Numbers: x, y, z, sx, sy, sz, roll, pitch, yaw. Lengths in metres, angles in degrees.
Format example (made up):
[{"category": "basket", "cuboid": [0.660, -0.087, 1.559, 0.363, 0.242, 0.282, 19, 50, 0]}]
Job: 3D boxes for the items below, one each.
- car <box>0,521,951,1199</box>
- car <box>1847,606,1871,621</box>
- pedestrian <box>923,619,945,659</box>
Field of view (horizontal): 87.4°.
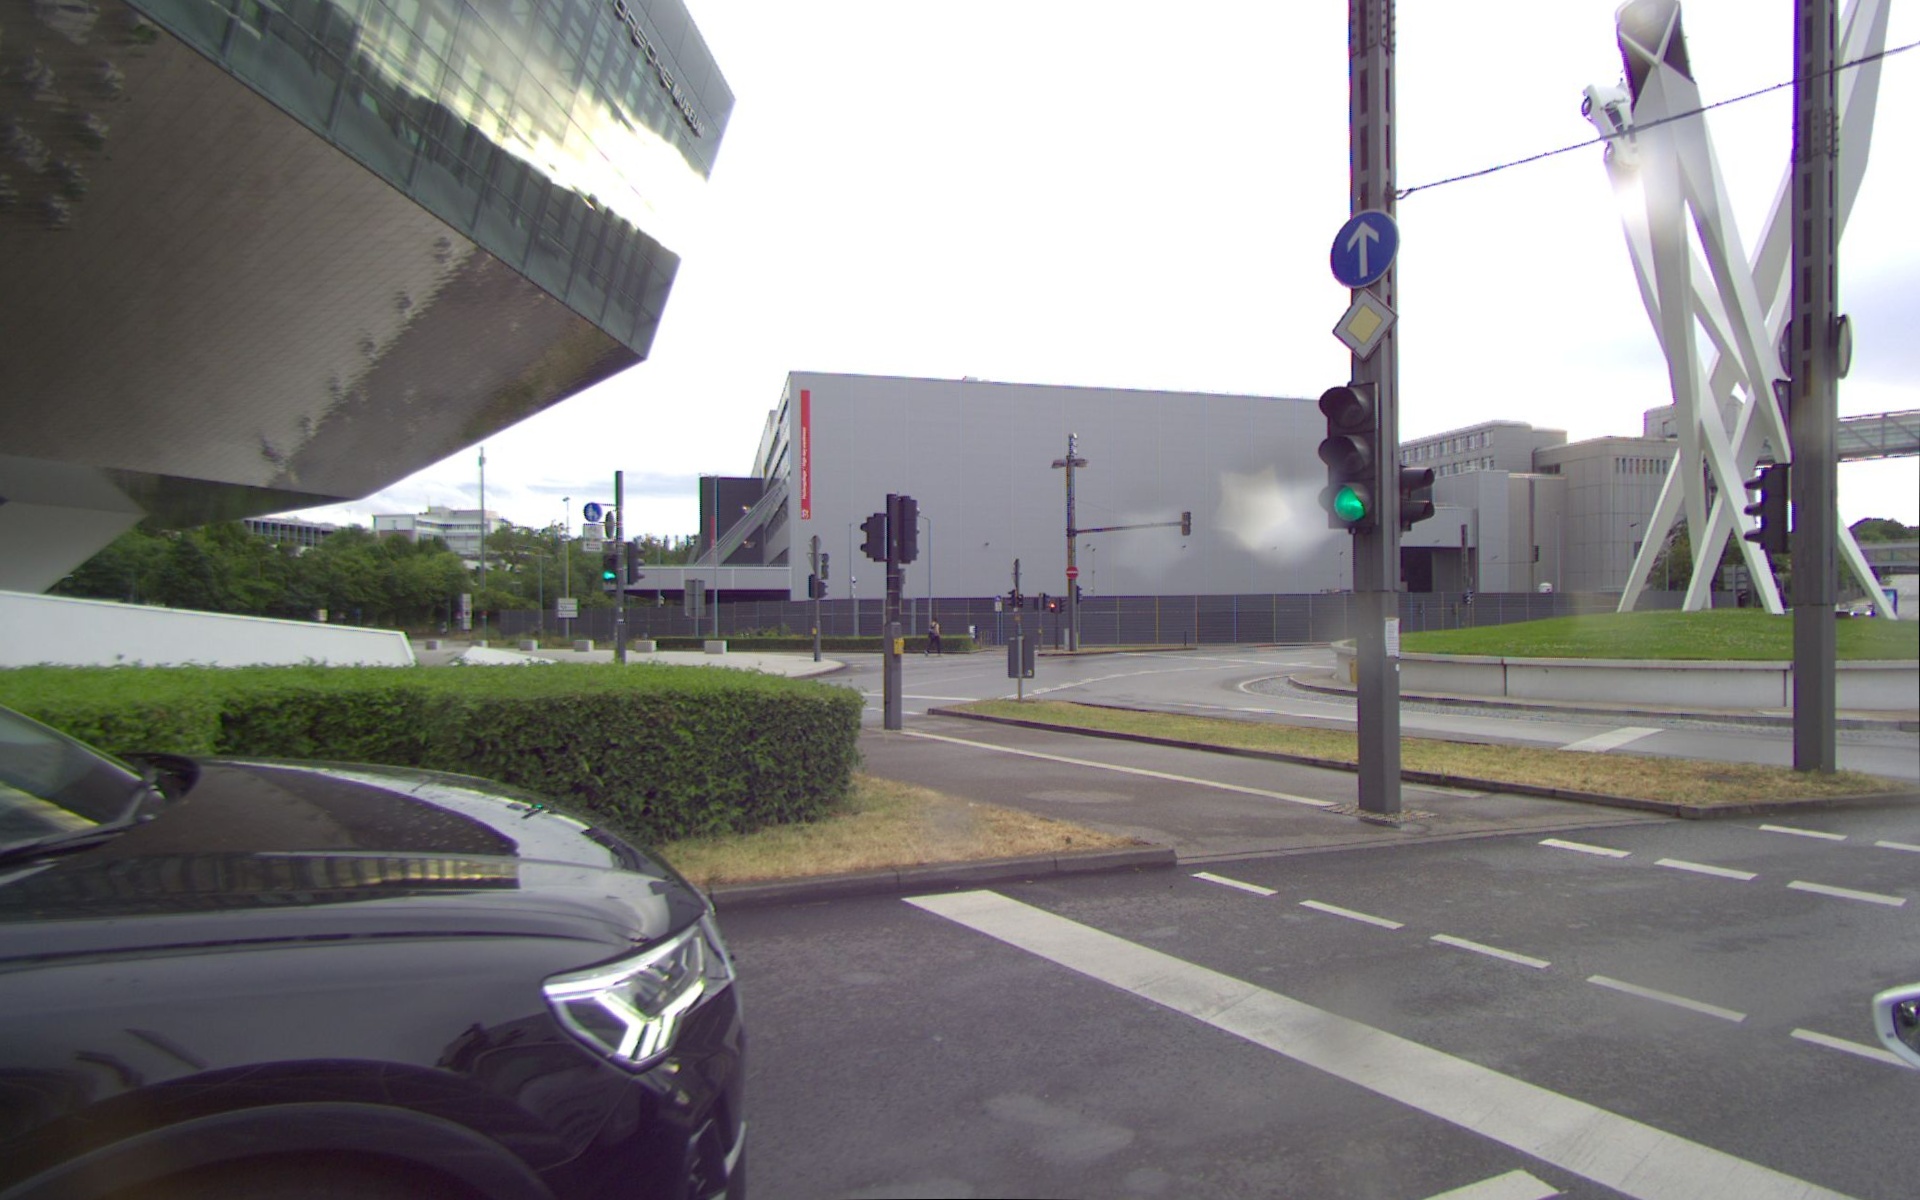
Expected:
[{"category": "car", "cuboid": [-2.328, 0.639, 1.323, 4.346, 1.538, 1.743, 3, -1, -32]}, {"category": "car", "cuboid": [95.877, 1.445, 107.138, 1.764, 1.459, 4.369, -1, 0, 44]}, {"category": "pedestrian", "cuboid": [-1.211, 1.789, 46.729, 0.638, 1.827, 0.851, 0, 0, 34]}]
